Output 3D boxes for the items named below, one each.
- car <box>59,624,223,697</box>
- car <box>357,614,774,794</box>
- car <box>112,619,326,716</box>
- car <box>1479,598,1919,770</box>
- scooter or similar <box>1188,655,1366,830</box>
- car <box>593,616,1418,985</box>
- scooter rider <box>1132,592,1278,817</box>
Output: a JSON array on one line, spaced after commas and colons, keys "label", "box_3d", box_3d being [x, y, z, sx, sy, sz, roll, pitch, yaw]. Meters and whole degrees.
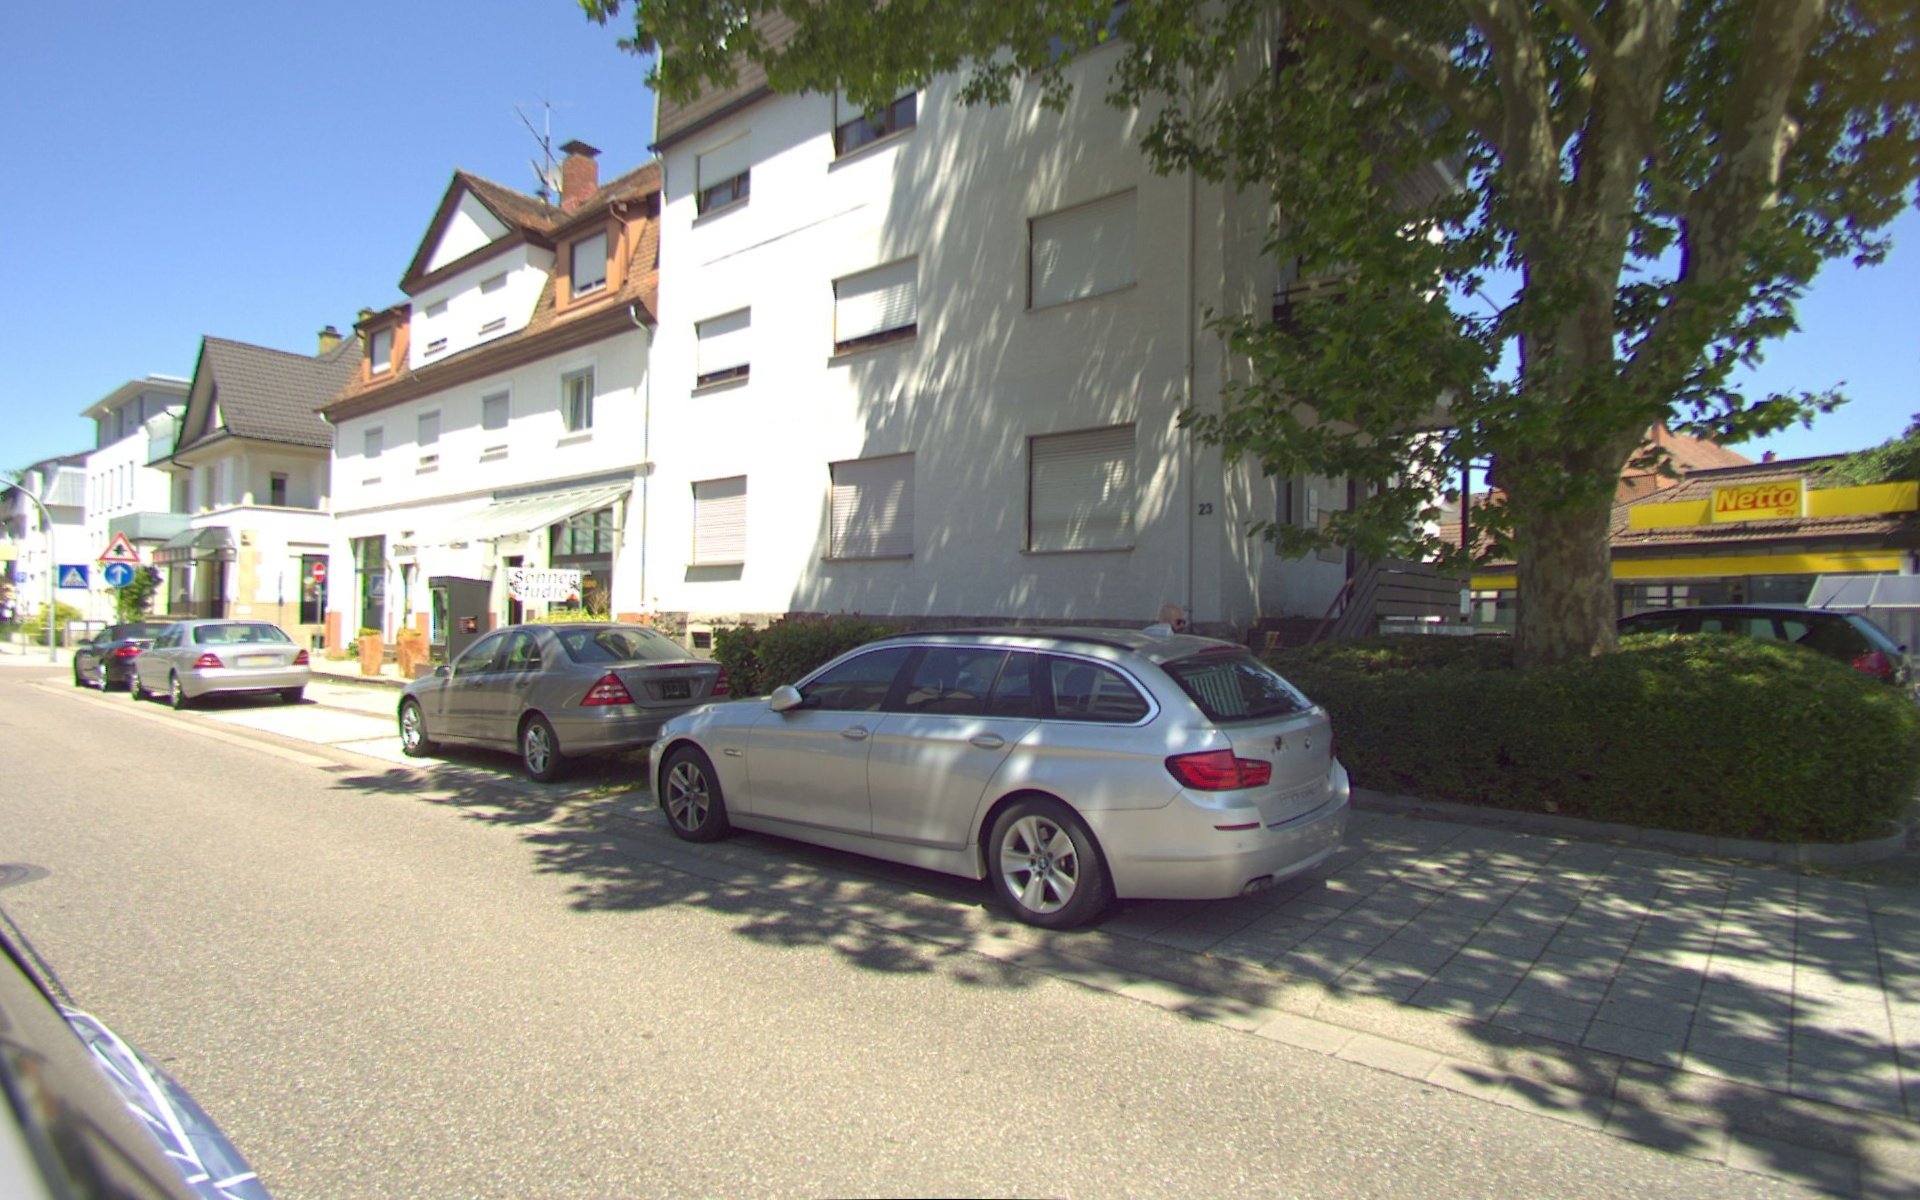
[{"label": "car", "box_3d": [-17.908, 1.230, 22.035, 5.095, 1.384, 1.922, -1, -2, 41]}, {"label": "car", "box_3d": [-4.294, 0.900, 10.602, 4.863, 1.463, 1.961, -1, -1, 40]}, {"label": "car", "box_3d": [-13.325, 1.090, 18.063, 5.354, 1.463, 1.960, -1, -1, 41]}, {"label": "car", "box_3d": [8.284, 0.823, 11.260, 1.783, 1.557, 4.114, 2, -2, -37]}, {"label": "scooter or similar", "box_3d": [2.273, 0.975, 7.290, 1.028, 1.106, 0.656, -2, 0, 42]}, {"label": "car", "box_3d": [-0.073, 0.851, 6.468, 5.145, 1.463, 1.961, -1, -1, 40]}, {"label": "scooter rider", "box_3d": [1.855, 0.749, 7.677, 0.877, 1.587, 0.582, -2, 0, 42]}]
